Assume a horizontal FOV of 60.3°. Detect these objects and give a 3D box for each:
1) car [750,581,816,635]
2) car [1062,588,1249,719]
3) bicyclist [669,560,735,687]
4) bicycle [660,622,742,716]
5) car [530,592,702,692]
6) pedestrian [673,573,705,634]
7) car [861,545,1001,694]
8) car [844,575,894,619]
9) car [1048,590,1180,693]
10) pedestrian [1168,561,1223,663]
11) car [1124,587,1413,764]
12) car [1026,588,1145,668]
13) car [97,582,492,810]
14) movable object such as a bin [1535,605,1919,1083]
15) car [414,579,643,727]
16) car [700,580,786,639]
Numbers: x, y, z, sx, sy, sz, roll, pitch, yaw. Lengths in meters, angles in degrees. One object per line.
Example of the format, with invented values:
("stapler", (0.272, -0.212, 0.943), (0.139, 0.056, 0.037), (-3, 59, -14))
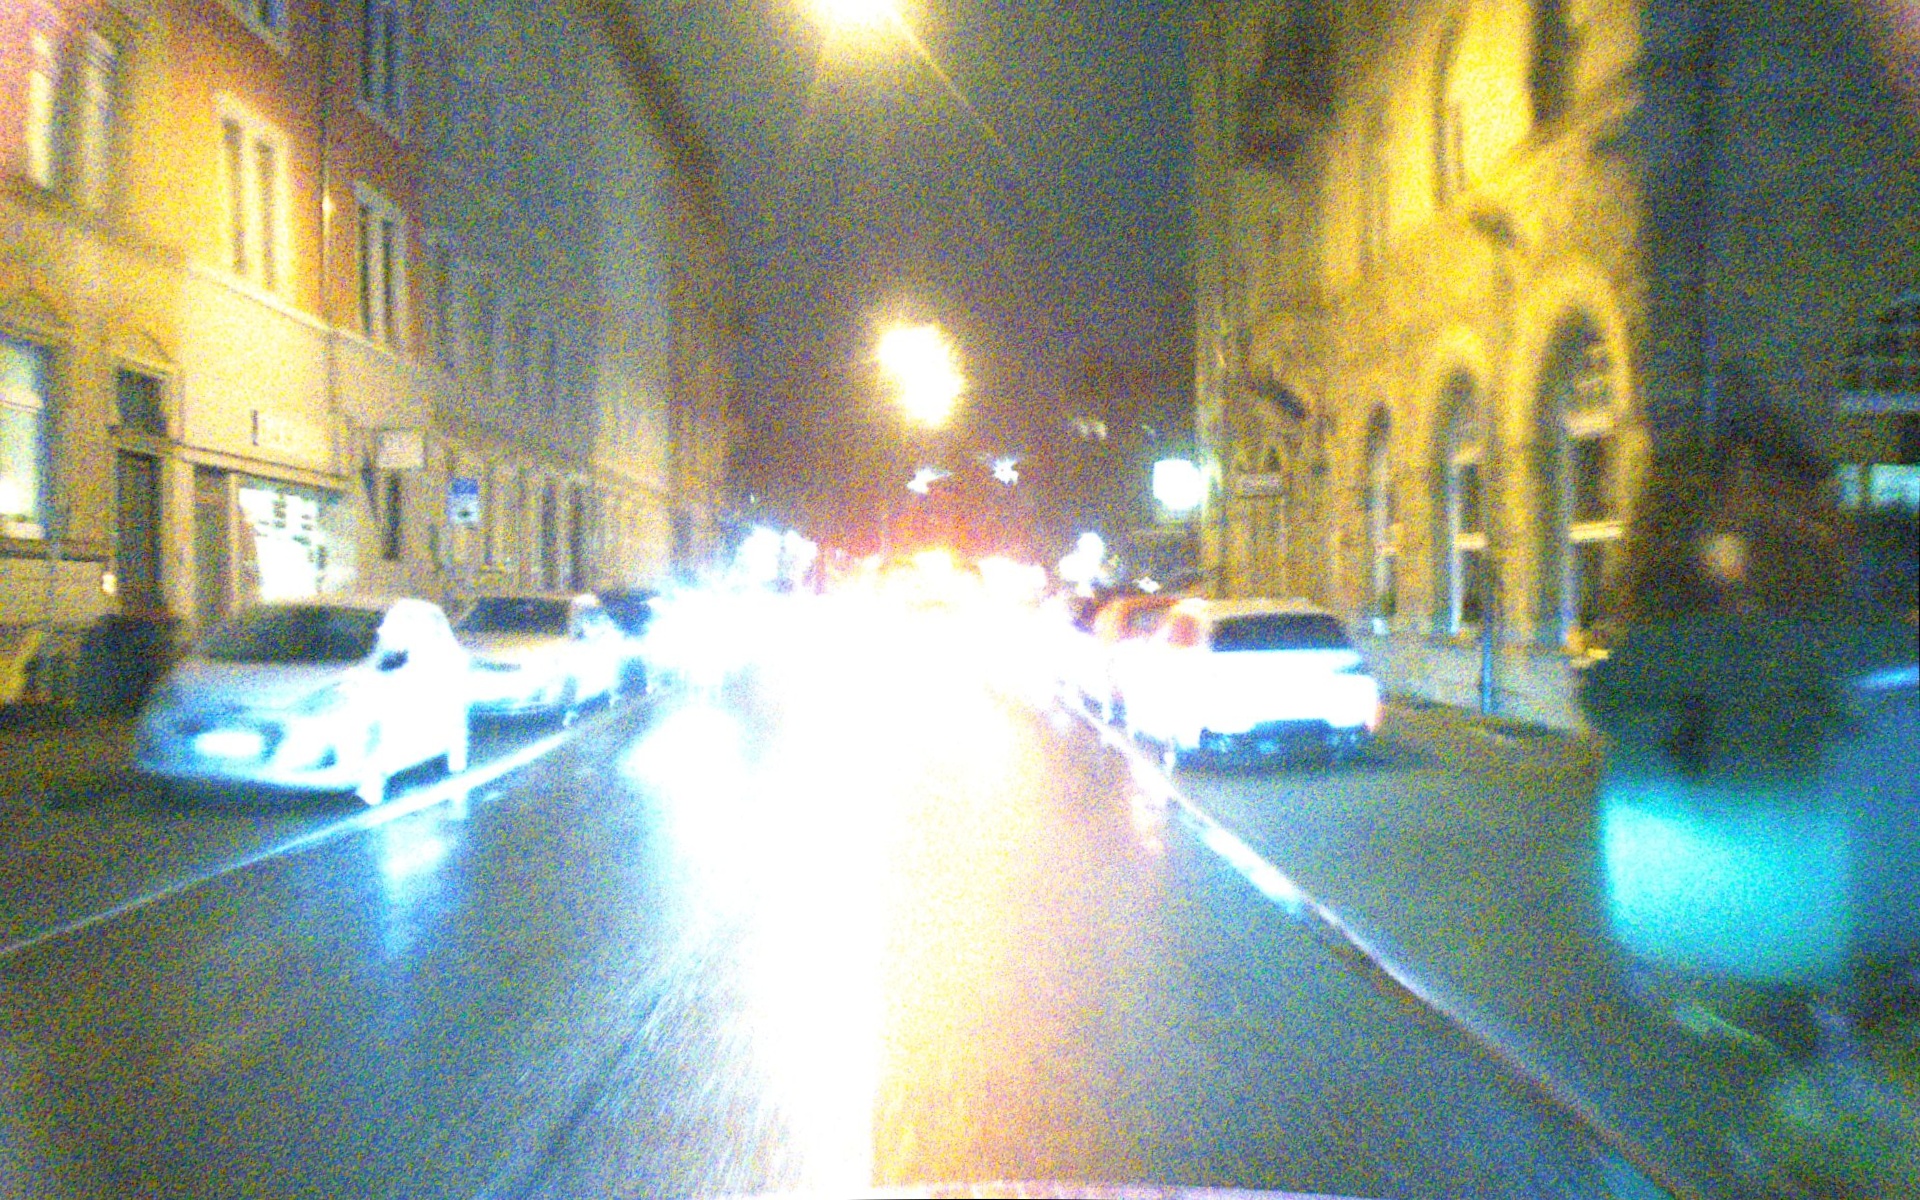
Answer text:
("car", (-5.920, 0.249, 55.783), (1.795, 1.747, 4.594), (0, 0, -1))
("car", (2.390, 0.605, 21.152), (1.656, 1.524, 3.888), (0, 0, -5))
("bicyclist", (-3.320, 0.294, 21.306), (0.704, 1.583, 0.895), (-1, 0, -1))
("bicycle", (-3.325, 0.862, 21.387), (0.712, 1.091, 2.348), (-1, 0, -1))
("car", (-5.217, 0.583, 25.628), (1.785, 1.414, 4.425), (0, 0, -1))
("pedestrian", (-8.409, 0.101, 51.393), (0.727, 1.836, 0.987), (2, 0, 2))
("car", (-0.418, 0.249, 25.563), (1.955, 2.084, 4.694), (0, 1, 0))
("car", (-3.630, -0.139, 66.416), (1.882, 1.646, 4.573), (-1, 1, -2))
("car", (2.385, 0.597, 26.406), (1.655, 1.524, 3.890), (0, 0, -1))
("pedestrian", (4.324, 0.202, 30.412), (0.844, 1.819, 1.083), (-2, 1, 2))
("car", (2.832, 0.628, 16.230), (1.953, 1.489, 4.416), (0, 0, -1))
("car", (2.331, 0.482, 31.674), (1.878, 1.436, 3.999), (0, 0, -2))
("car", (-5.058, 0.643, 13.121), (1.638, 1.517, 3.721), (1, 0, -1))
("movable object such as a bin", (2.976, 0.751, 5.963), (1.327, 1.454, 1.185), (0, 0, -37))
("car", (-5.070, 0.567, 19.988), (1.738, 1.599, 4.134), (0, 0, -1))
("car", (-5.903, 0.241, 45.371), (1.795, 1.512, 4.594), (0, 0, -1))
